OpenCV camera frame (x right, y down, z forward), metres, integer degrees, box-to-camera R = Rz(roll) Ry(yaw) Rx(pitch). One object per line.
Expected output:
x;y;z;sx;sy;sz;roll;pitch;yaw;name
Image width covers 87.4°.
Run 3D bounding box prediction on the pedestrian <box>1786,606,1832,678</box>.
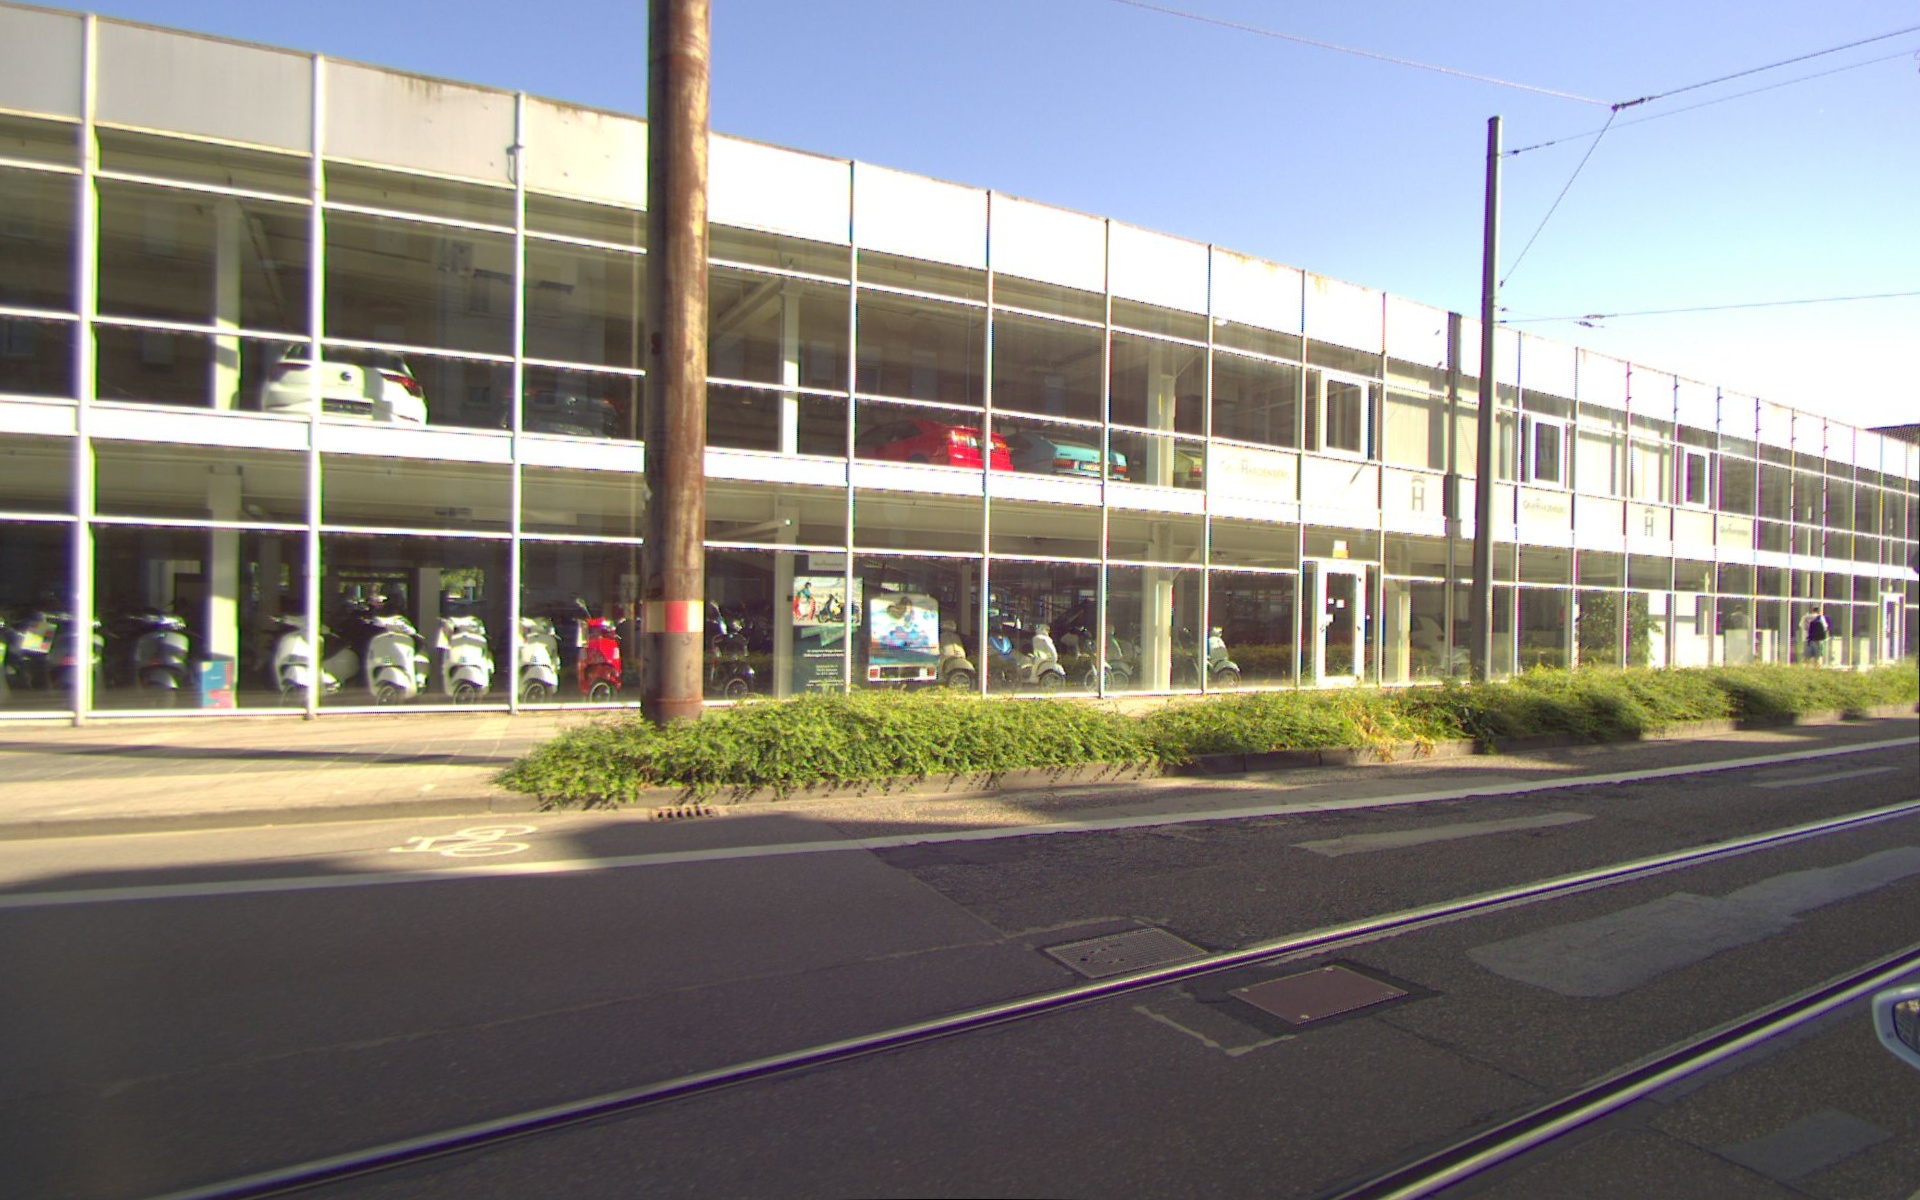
21.739;1.070;25.713;1.039;1.788;0.524;2;1;-31;pedestrian
